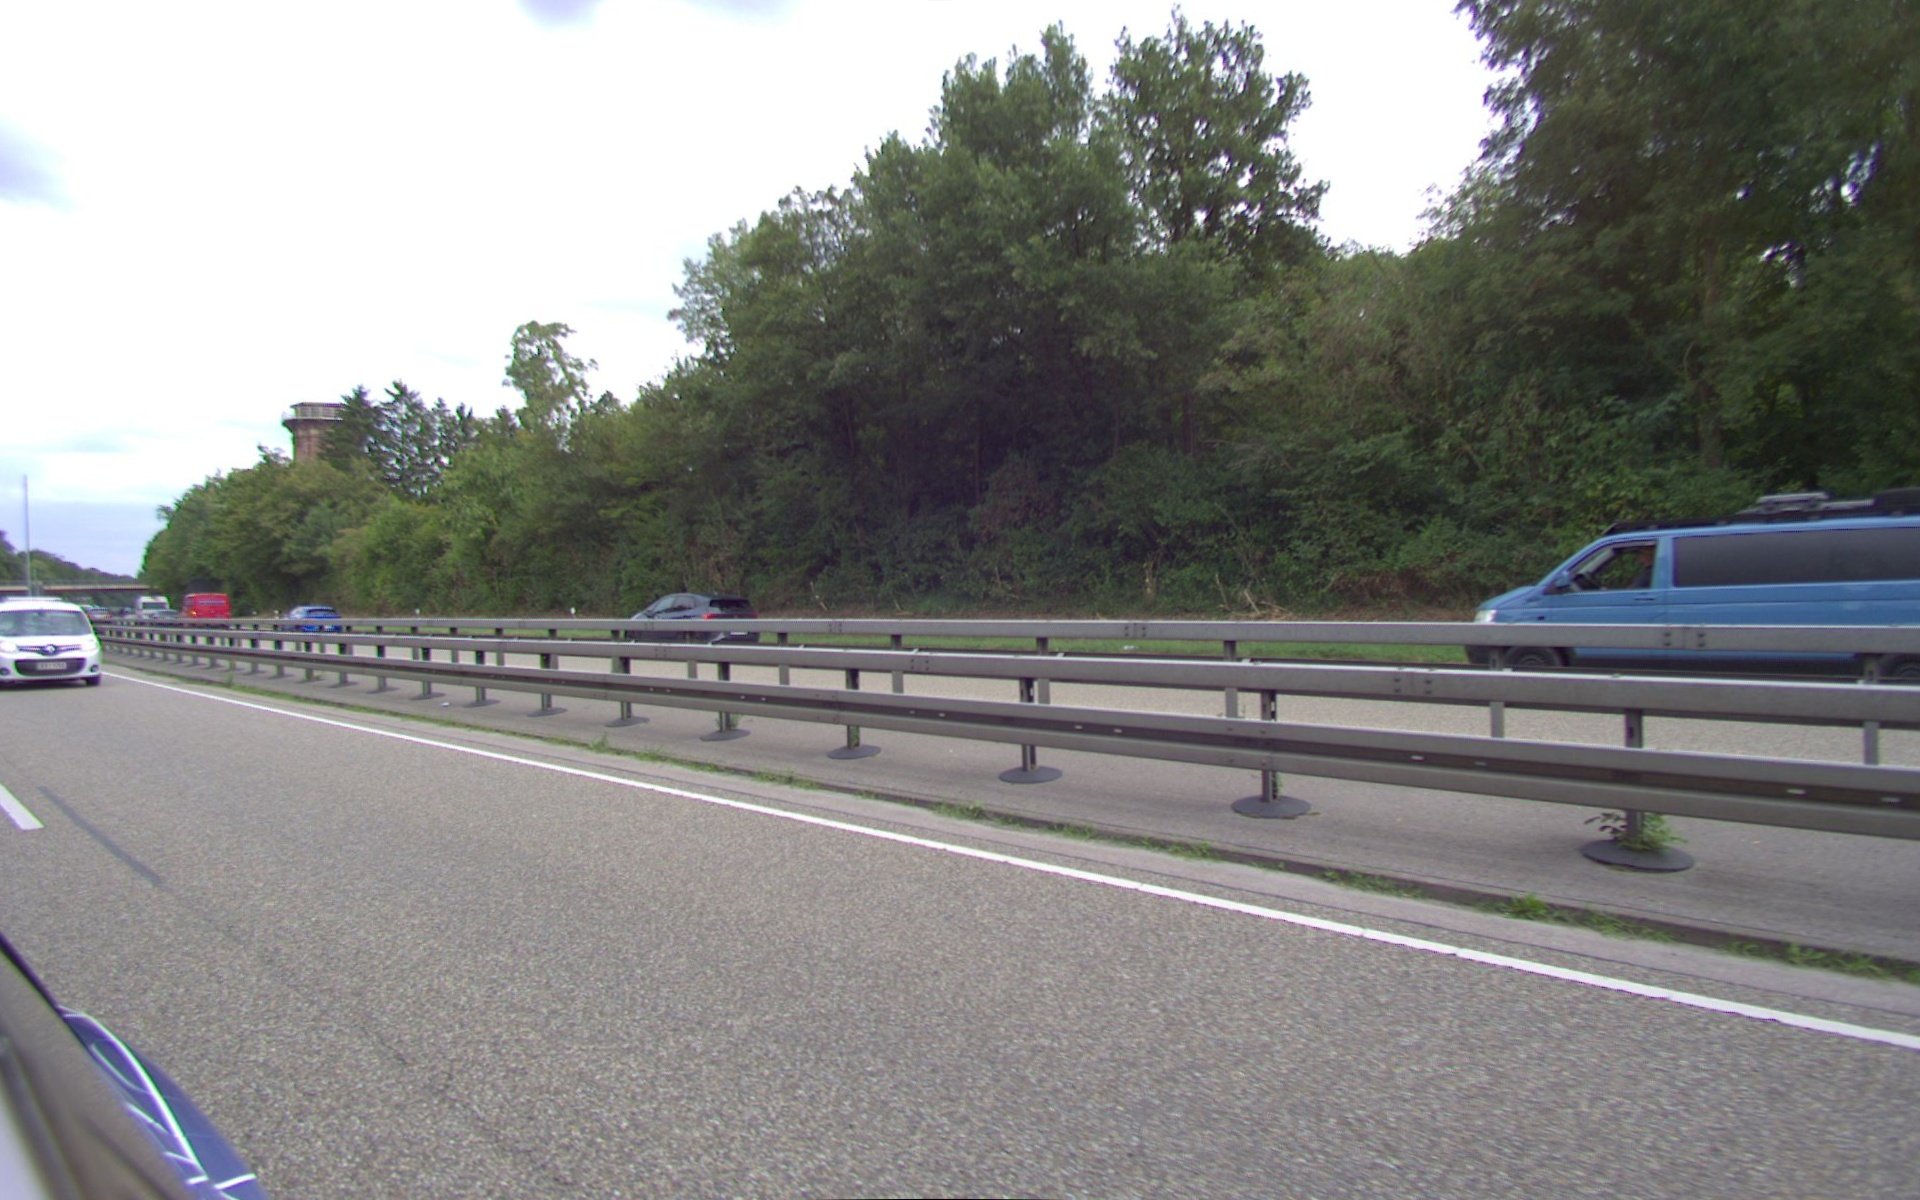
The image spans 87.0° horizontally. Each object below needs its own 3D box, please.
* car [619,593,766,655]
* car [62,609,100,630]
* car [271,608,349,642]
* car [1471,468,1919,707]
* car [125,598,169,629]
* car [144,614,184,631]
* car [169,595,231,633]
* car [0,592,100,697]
[{"bbox_3d":[-6.931,0.599,26.013,4.088,1.478,1.676,-1,-1,42],"label":"car"},{"bbox_3d":[-68.498,1.494,78.855,4.014,1.575,1.762,-1,-1,43],"label":"car"},{"bbox_3d":[-30.765,1.163,47.844,4.504,1.521,1.972,-1,-1,42],"label":"car"},{"bbox_3d":[8.963,-0.105,11.533,5.302,2.339,1.915,-1,-1,41],"label":"car"},{"bbox_3d":[-71.576,1.166,89.069,5.553,2.631,2.286,-1,-1,43],"label":"car"},{"bbox_3d":[-60.754,1.695,77.224,4.106,1.306,1.755,-1,-1,42],"label":"car"},{"bbox_3d":[-47.068,0.873,62.646,5.373,2.273,2.044,-1,-1,42],"label":"car"},{"bbox_3d":[-19.687,0.883,21.463,4.425,2.020,1.796,-1,-1,44],"label":"car"}]
